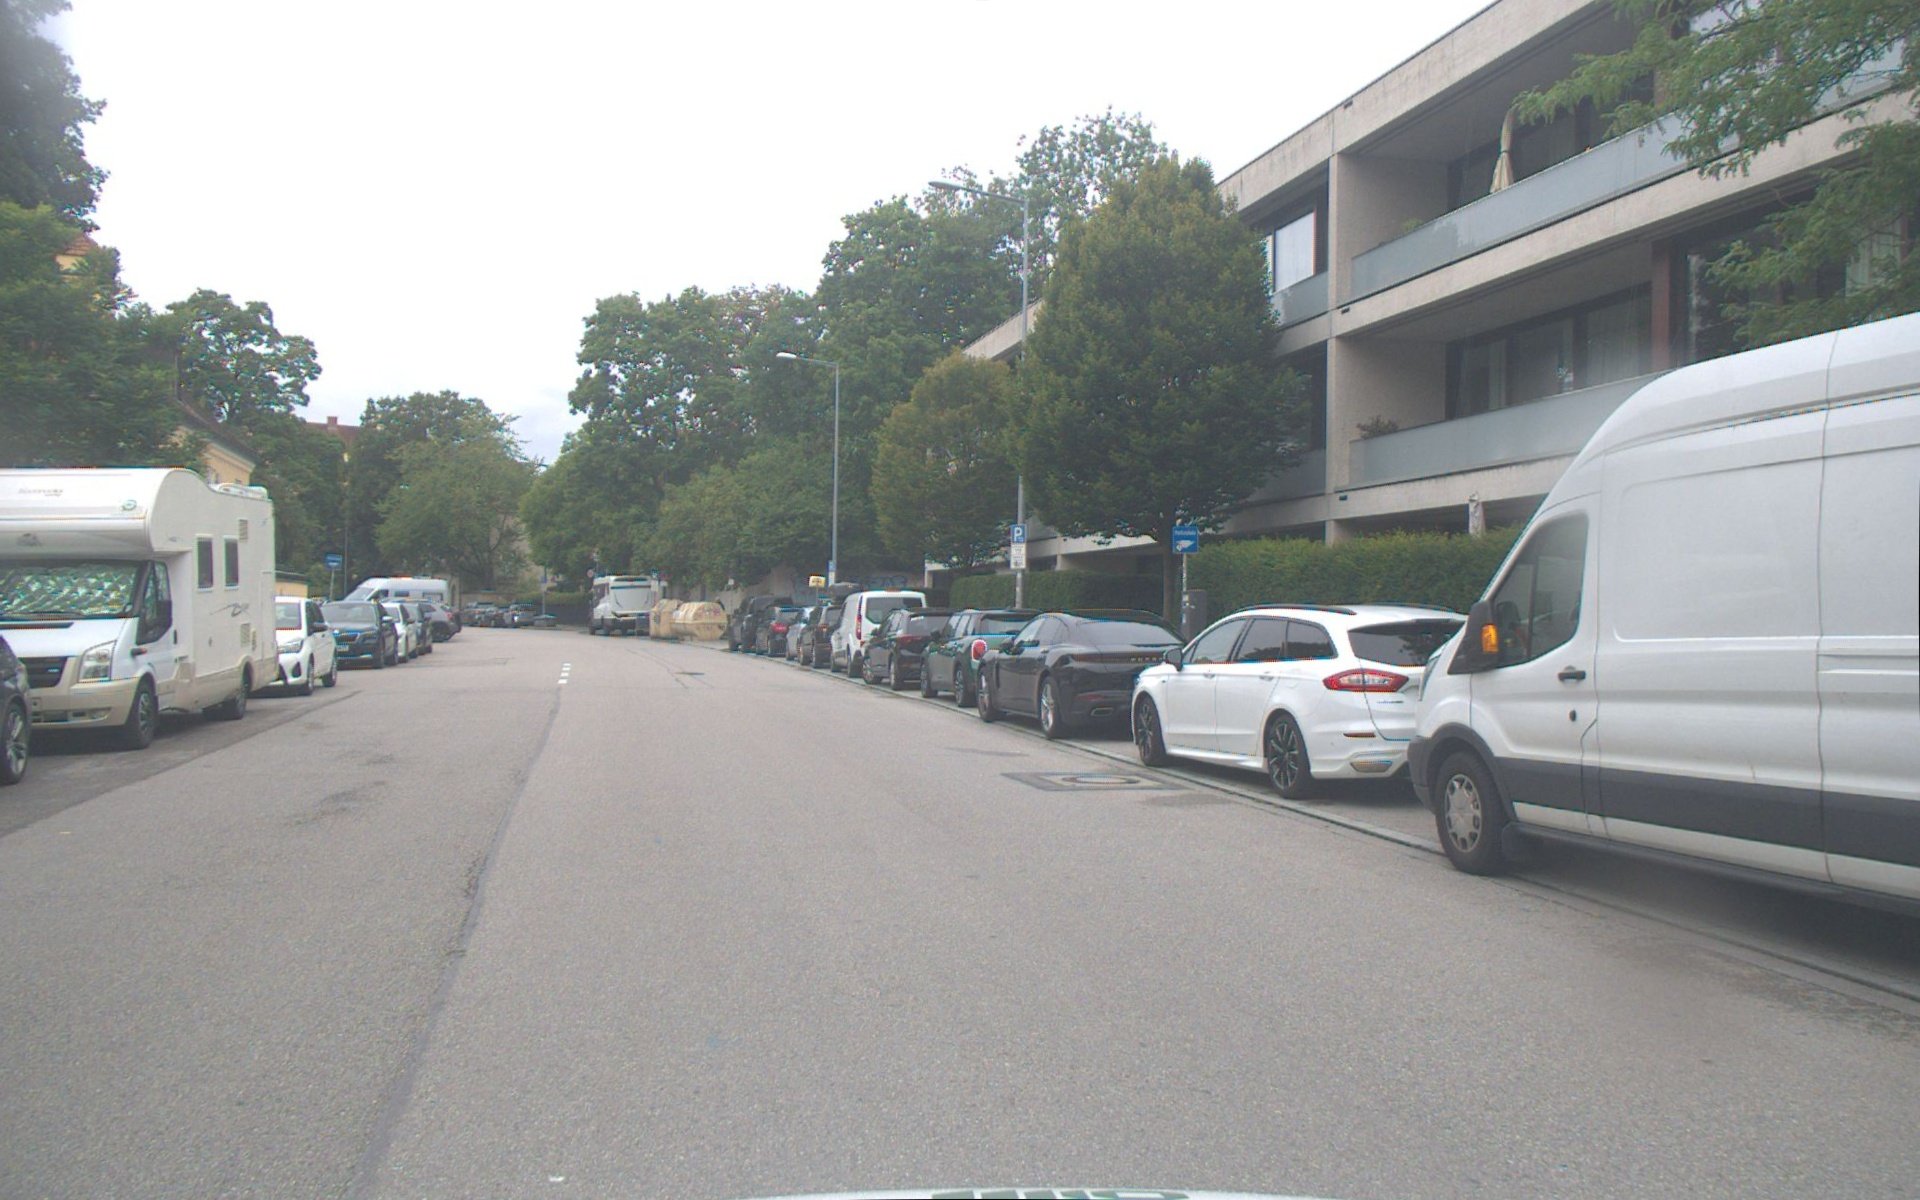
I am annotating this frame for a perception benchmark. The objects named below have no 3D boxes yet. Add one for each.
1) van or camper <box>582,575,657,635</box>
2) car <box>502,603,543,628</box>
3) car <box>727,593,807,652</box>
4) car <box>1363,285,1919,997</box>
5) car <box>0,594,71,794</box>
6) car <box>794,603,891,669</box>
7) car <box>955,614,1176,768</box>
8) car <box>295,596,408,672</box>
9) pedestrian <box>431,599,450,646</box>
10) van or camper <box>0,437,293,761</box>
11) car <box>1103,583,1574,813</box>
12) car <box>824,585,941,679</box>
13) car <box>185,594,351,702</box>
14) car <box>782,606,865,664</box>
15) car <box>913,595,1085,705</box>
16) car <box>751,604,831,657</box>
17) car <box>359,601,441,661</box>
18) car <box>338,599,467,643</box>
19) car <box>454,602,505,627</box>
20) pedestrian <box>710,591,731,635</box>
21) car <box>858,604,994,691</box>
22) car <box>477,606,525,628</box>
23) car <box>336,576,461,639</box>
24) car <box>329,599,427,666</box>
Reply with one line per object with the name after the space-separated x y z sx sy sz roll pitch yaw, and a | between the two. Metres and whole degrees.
-17.814 0.253 86.293 2.243 2.957 7.220 1 -1 -24 | van or camper
-29.072 1.028 109.878 1.725 1.563 2.908 -1 -1 -36 | car
-6.688 0.781 56.971 1.955 1.904 5.056 2 -1 -16 | car
4.330 0.131 7.920 2.045 2.733 6.065 -1 1 -14 | car
-8.207 0.747 12.008 1.903 1.534 4.804 -1 0 -14 | car
-3.015 0.869 41.755 1.718 1.506 4.582 2 0 -13 | car
1.140 0.996 20.385 1.259 1.532 5.189 -1 1 -13 | car
-13.750 0.755 37.601 1.813 1.562 4.426 -1 0 -13 | car
-18.885 0.818 60.137 0.582 1.676 0.709 1 0 -23 | pedestrian
-9.578 -0.004 18.779 2.411 2.992 7.190 -1 0 -11 | van or camper
3.016 0.671 14.477 1.840 1.597 4.980 -1 1 -16 | car
-1.798 0.676 36.768 1.790 1.893 4.883 2 0 -12 | car
-11.062 0.713 26.710 1.748 1.562 4.214 -1 0 -13 | car
-3.861 0.949 46.283 1.718 1.506 3.874 1 0 -14 | car
0.515 0.708 25.824 1.697 1.556 4.190 -1 0 -13 | car
-5.340 0.913 51.792 1.719 1.566 4.550 1 0 -16 | car
-15.885 0.835 47.071 1.814 1.562 4.544 -1 0 -14 | car
-20.498 0.788 60.806 4.279 1.557 1.916 1 -2 -27 | car
-34.034 1.000 117.000 1.978 1.741 4.822 -1 0 -36 | car
-11.190 0.613 77.219 0.785 2.020 0.625 1 -1 -25 | pedestrian
-0.721 0.834 31.000 1.718 1.489 4.228 0 0 -13 | car
-31.459 1.152 113.202 1.862 1.452 4.168 -1 0 -36 | car
-24.088 0.303 71.070 2.195 2.608 4.608 0 0 43 | car
-14.800 0.788 42.290 1.813 1.562 4.506 -1 0 -13 | car
